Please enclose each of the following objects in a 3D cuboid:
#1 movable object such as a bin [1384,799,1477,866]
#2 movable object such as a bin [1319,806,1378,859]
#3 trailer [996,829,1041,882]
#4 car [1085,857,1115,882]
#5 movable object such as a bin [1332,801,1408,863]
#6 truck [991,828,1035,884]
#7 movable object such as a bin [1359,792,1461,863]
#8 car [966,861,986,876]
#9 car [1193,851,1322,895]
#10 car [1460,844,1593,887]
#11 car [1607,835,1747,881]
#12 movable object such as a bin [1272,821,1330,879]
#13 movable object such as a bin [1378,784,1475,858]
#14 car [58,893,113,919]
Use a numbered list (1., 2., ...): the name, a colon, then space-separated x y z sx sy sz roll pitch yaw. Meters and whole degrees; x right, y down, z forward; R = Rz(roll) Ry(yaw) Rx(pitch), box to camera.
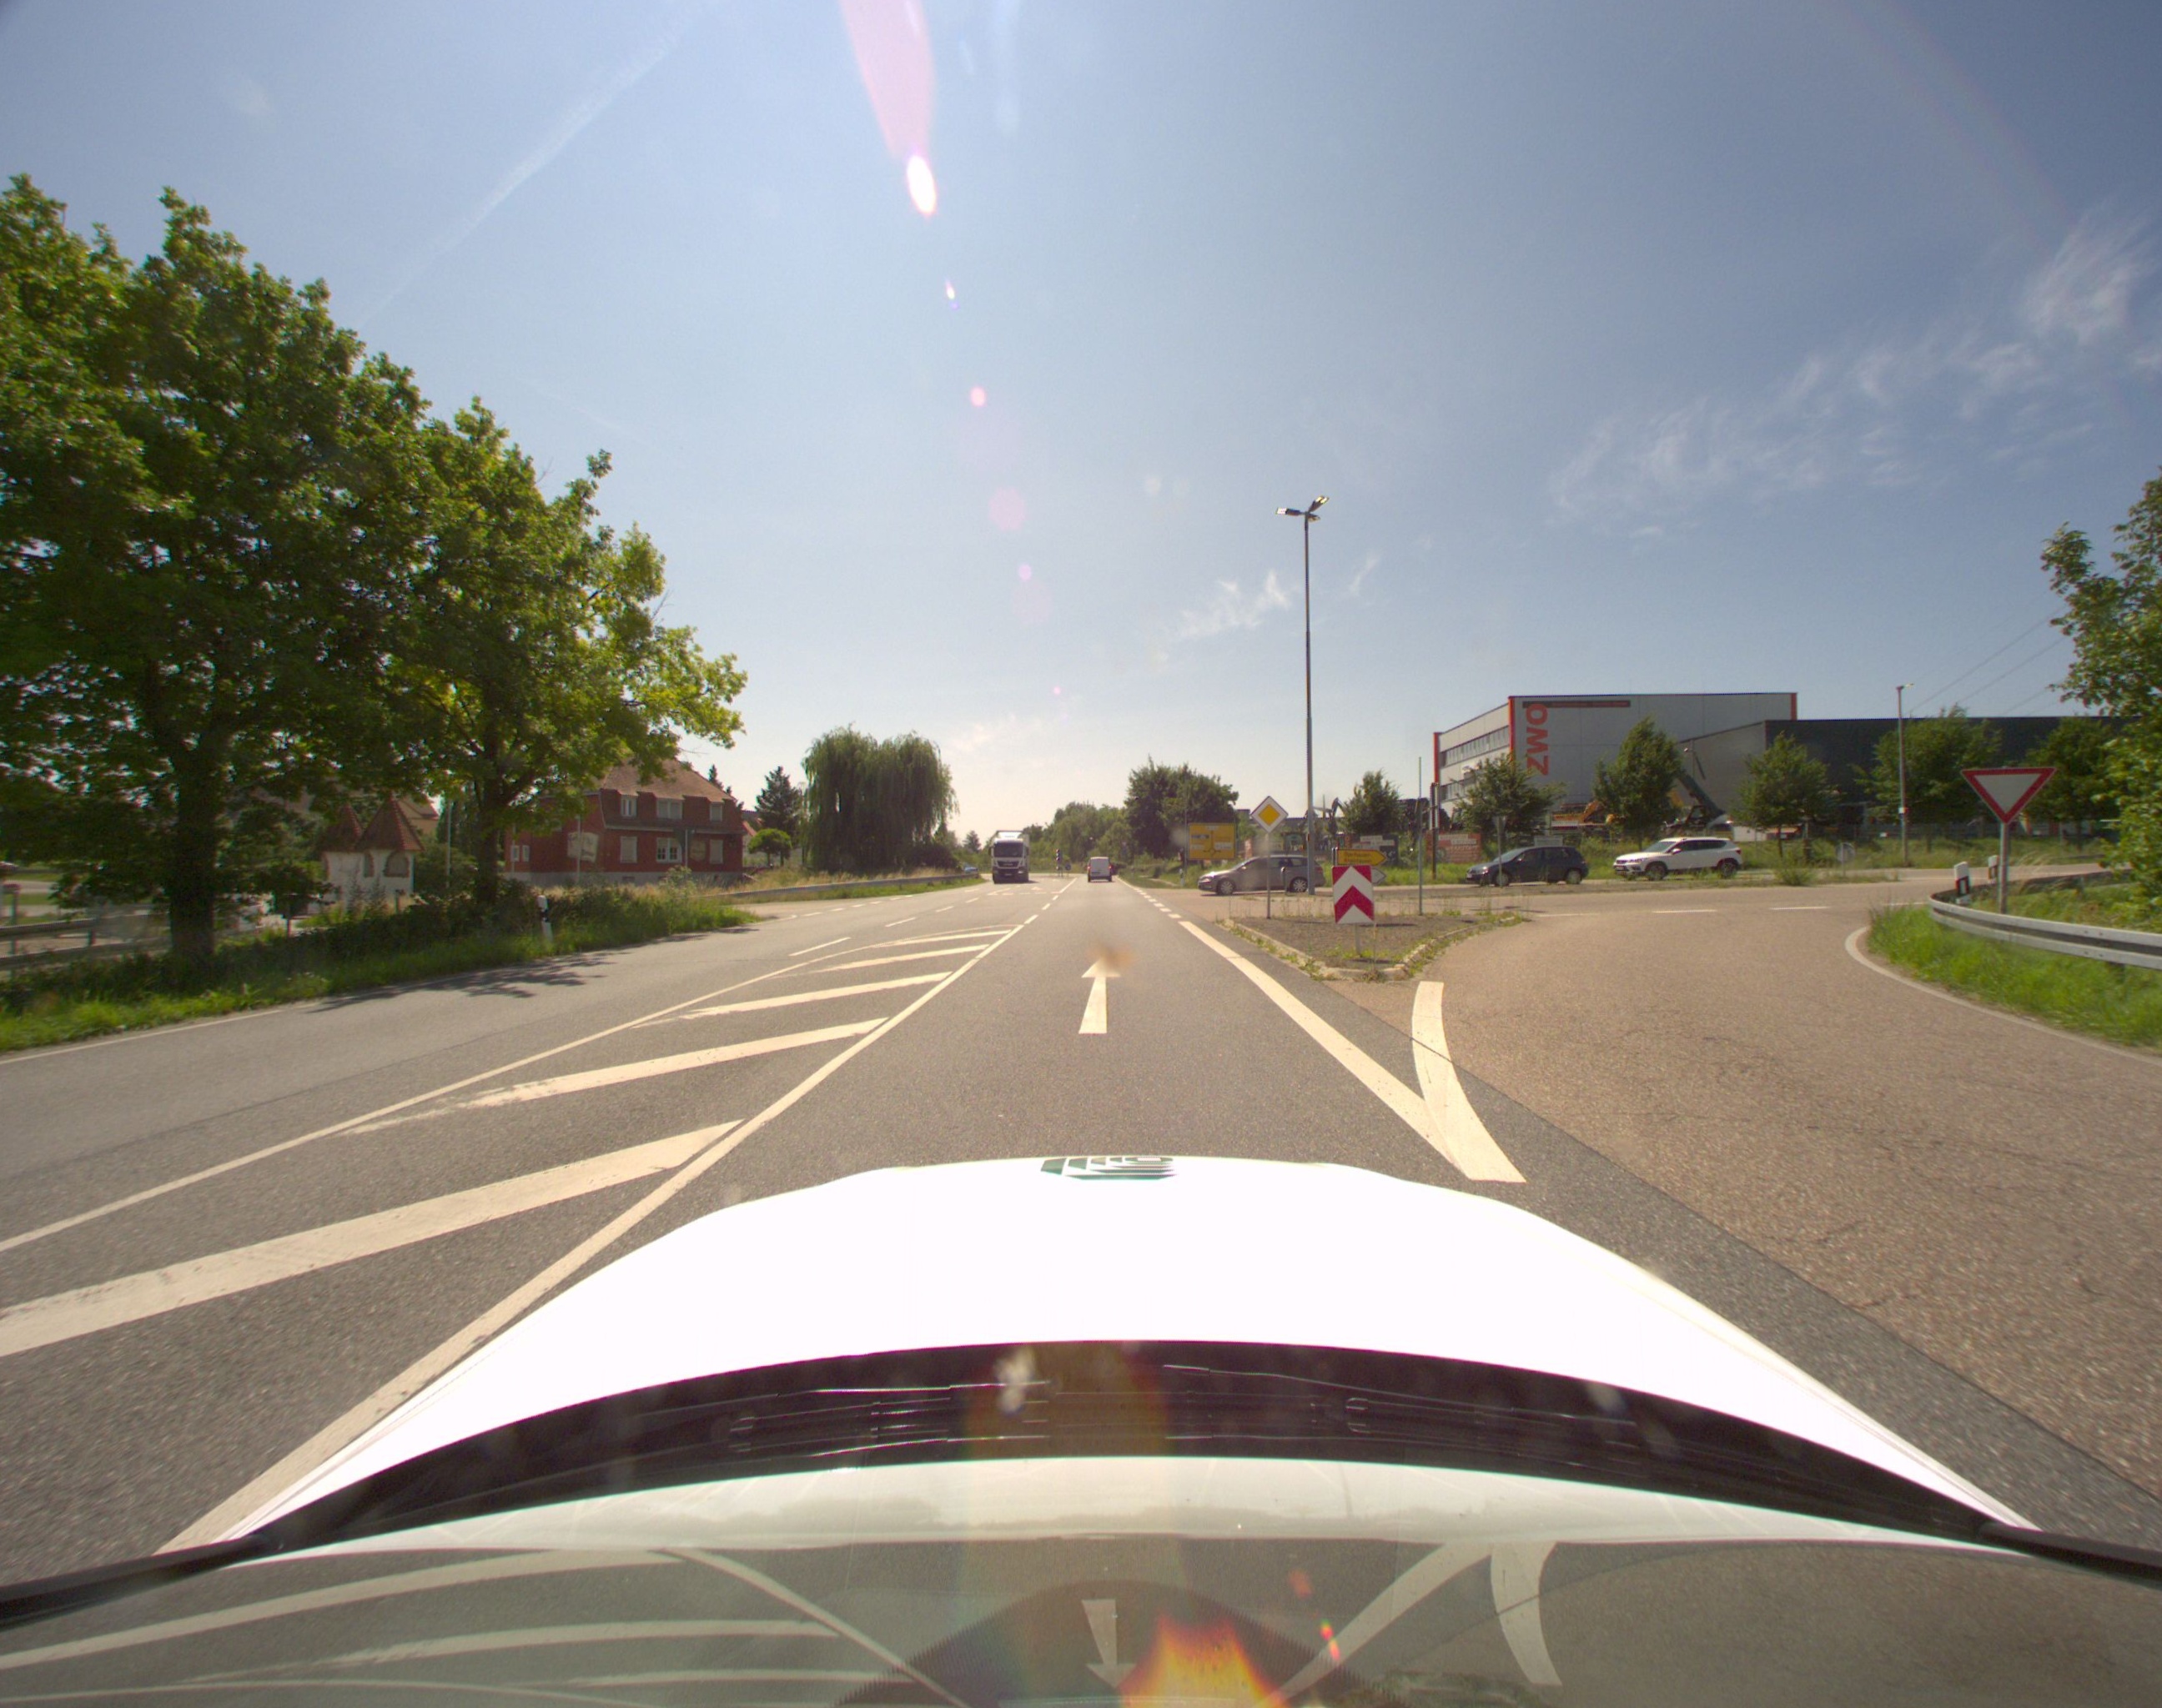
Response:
1. movable object such as a bin: 23.360 -1.404 54.636 5.062 4.276 2.837 1 -3 4
2. movable object such as a bin: 26.676 -2.105 81.458 5.062 5.056 2.780 1 -3 4
3. trailer: -5.125 0.112 69.598 2.781 4.056 13.499 1 0 0
4. car: 1.350 1.112 59.078 1.899 1.732 3.818 0 -1 -3
5. movable object such as a bin: 25.627 -1.923 72.446 5.691 5.270 3.224 1 -3 4
6. truck: -5.212 0.159 63.440 2.781 4.056 6.752 1 0 0
7. movable object such as a bin: 25.514 -1.979 63.482 6.561 5.148 3.810 1 -3 4
8. car: -11.325 1.564 87.770 1.848 1.567 3.985 -2 0 -10
9. car: 6.601 0.714 30.835 4.494 1.508 1.915 -1 0 1
10. car: 16.416 0.422 30.168 3.982 1.440 1.636 -2 0 3
11. car: 22.966 0.143 31.479 4.067 1.621 1.761 -2 1 3
12. movable object such as a bin: 13.477 -0.162 50.218 2.314 3.250 5.101 1 -2 1
13. movable object such as a bin: 25.189 -2.379 59.598 5.892 5.106 3.111 1 -3 4
14. car: -74.673 3.881 61.095 3.818 1.726 1.815 -1 1 28
